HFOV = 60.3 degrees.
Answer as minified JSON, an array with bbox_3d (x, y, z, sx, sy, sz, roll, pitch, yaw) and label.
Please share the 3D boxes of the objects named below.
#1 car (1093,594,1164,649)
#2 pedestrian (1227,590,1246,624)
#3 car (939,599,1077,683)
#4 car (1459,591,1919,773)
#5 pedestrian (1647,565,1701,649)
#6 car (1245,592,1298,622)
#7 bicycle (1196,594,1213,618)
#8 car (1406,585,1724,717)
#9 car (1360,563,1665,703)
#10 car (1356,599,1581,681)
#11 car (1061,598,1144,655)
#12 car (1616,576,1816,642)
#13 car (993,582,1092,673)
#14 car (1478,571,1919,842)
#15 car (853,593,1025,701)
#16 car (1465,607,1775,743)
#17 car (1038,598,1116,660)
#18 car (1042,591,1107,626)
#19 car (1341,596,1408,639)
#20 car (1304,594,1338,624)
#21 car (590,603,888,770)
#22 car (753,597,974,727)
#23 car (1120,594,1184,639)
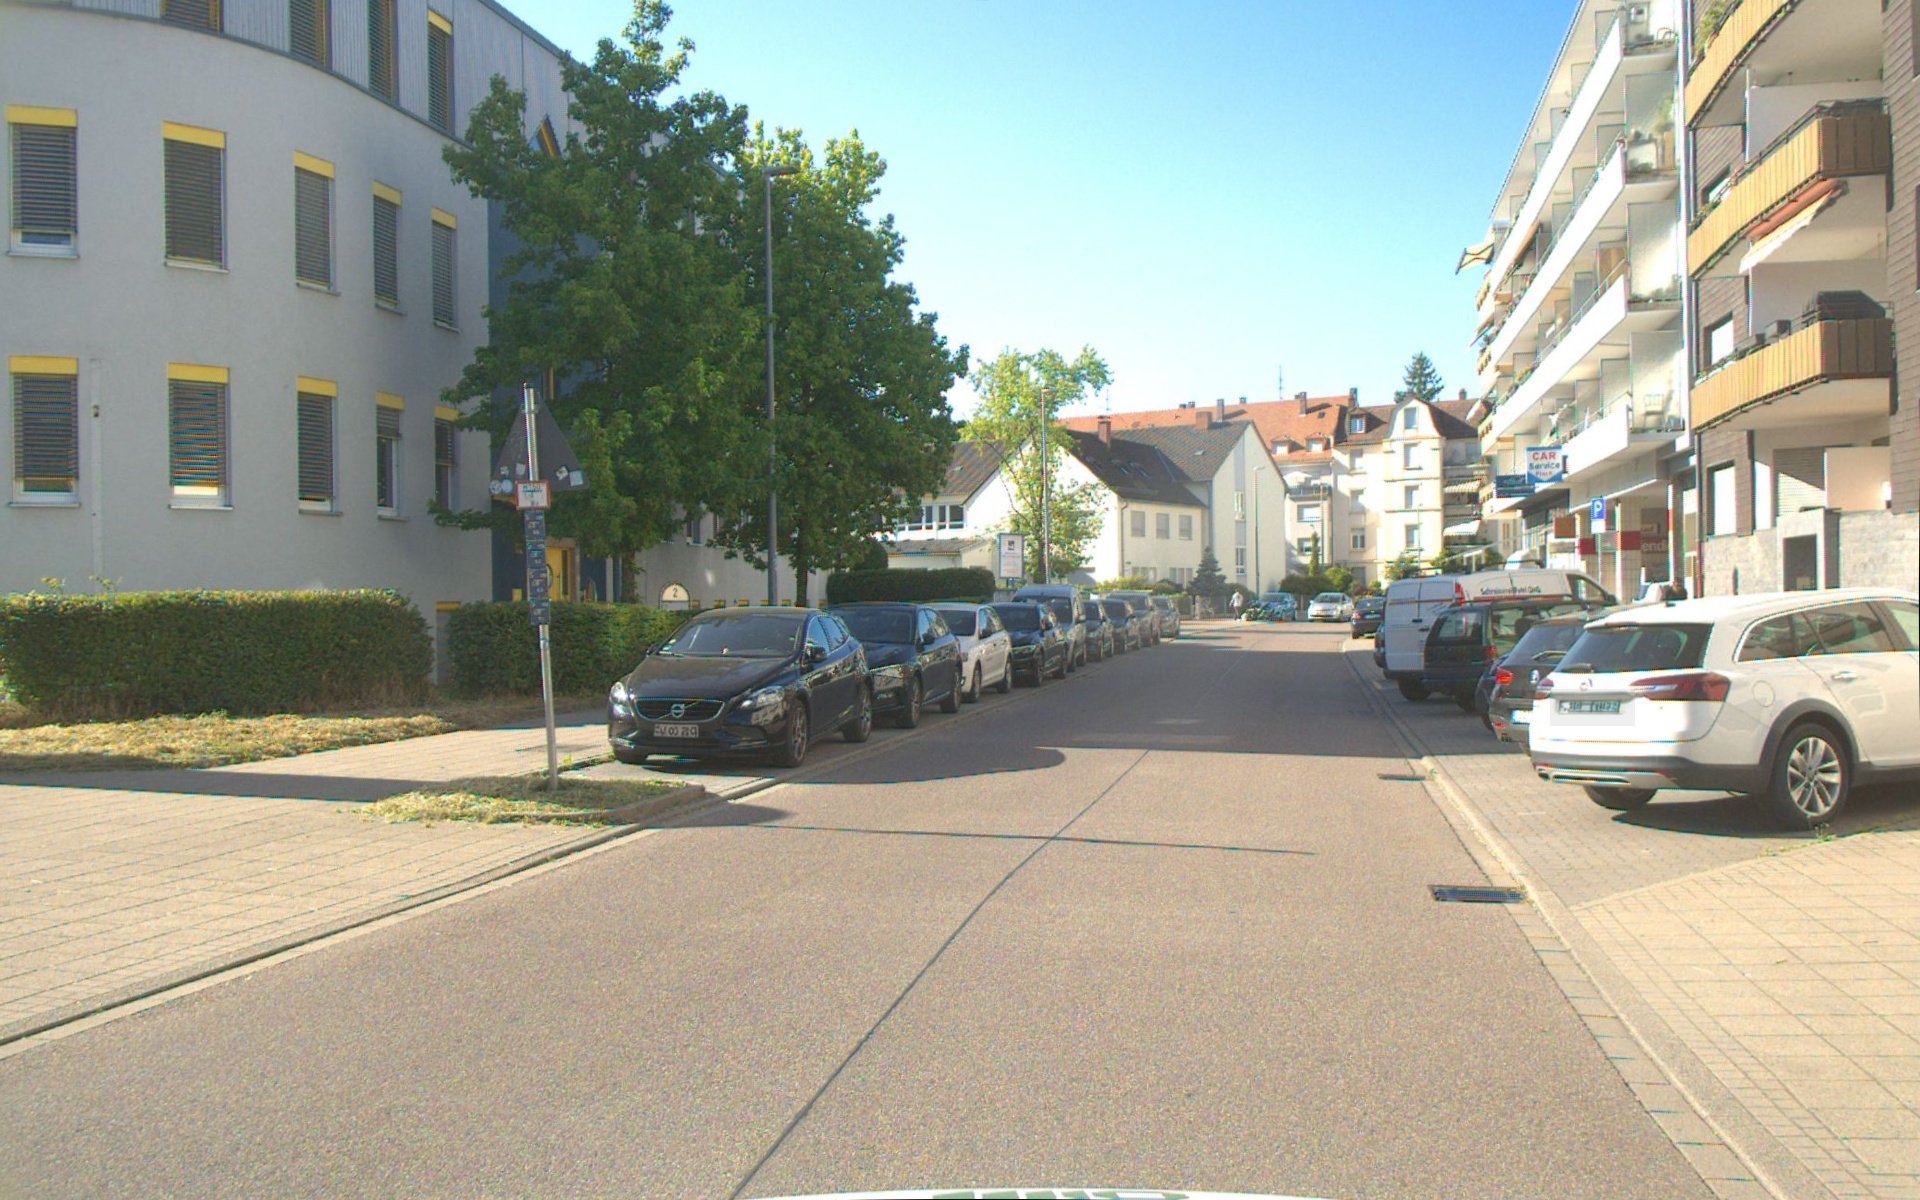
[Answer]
[{"bbox_3d":[5.308,0.641,51.733,1.683,1.614,4.425,0,0,13],"label":"car"},{"bbox_3d":[14.300,0.385,85.584,0.670,1.733,0.821,-2,-3,33],"label":"pedestrian"},{"bbox_3d":[0.986,0.716,31.026,1.695,1.465,4.615,-1,0,13],"label":"car"},{"bbox_3d":[6.981,0.724,15.657,4.100,1.523,1.810,0,-2,-23],"label":"car"},{"bbox_3d":[14.049,0.138,32.568,0.815,1.621,0.889,-2,-1,17],"label":"pedestrian"},{"bbox_3d":[16.836,0.354,89.274,1.762,1.499,4.327,1,1,26],"label":"car"},{"bbox_3d":[13.352,0.340,90.346,0.447,1.272,1.927,-1,-3,23],"label":"bicycle"},{"bbox_3d":[8.279,0.693,22.656,3.926,1.515,1.607,-3,-2,-20],"label":"car"},{"bbox_3d":[8.723,0.509,26.073,4.467,1.931,2.030,-2,-2,-30],"label":"car"},{"bbox_3d":[10.254,0.783,33.247,4.585,1.491,1.673,-1,-2,-31],"label":"car"},{"bbox_3d":[4.015,0.699,46.070,1.689,1.490,4.443,0,0,13],"label":"car"},{"bbox_3d":[19.349,0.242,42.532,4.297,1.539,1.981,-2,-1,11],"label":"car"},{"bbox_3d":[1.854,0.553,36.087,1.651,1.871,4.345,0,0,9],"label":"car"},{"bbox_3d":[6.363,0.625,12.089,4.794,1.489,1.959,-3,1,-24],"label":"car"},{"bbox_3d":[-0.224,0.710,26.194,1.867,1.557,4.628,0,-1,10],"label":"car"},{"bbox_3d":[7.574,0.803,18.949,3.348,1.413,1.526,0,0,-29],"label":"car"},{"bbox_3d":[2.941,0.689,41.024,1.564,1.466,4.003,0,0,9],"label":"car"},{"bbox_3d":[5.534,0.430,80.049,1.769,1.583,3.177,-2,-3,35],"label":"car"},{"bbox_3d":[15.280,0.643,60.839,1.930,1.476,5.004,-1,-1,19],"label":"car"},{"bbox_3d":[19.064,0.465,87.264,1.689,1.511,4.109,0,0,13],"label":"car"},{"bbox_3d":[-2.038,0.757,16.542,1.750,1.435,4.227,0,0,10],"label":"car"},{"bbox_3d":[-1.114,0.743,21.369,1.867,1.505,4.384,0,-1,10],"label":"car"},{"bbox_3d":[7.182,0.596,61.491,1.951,1.561,4.922,-1,0,11],"label":"car"}]
